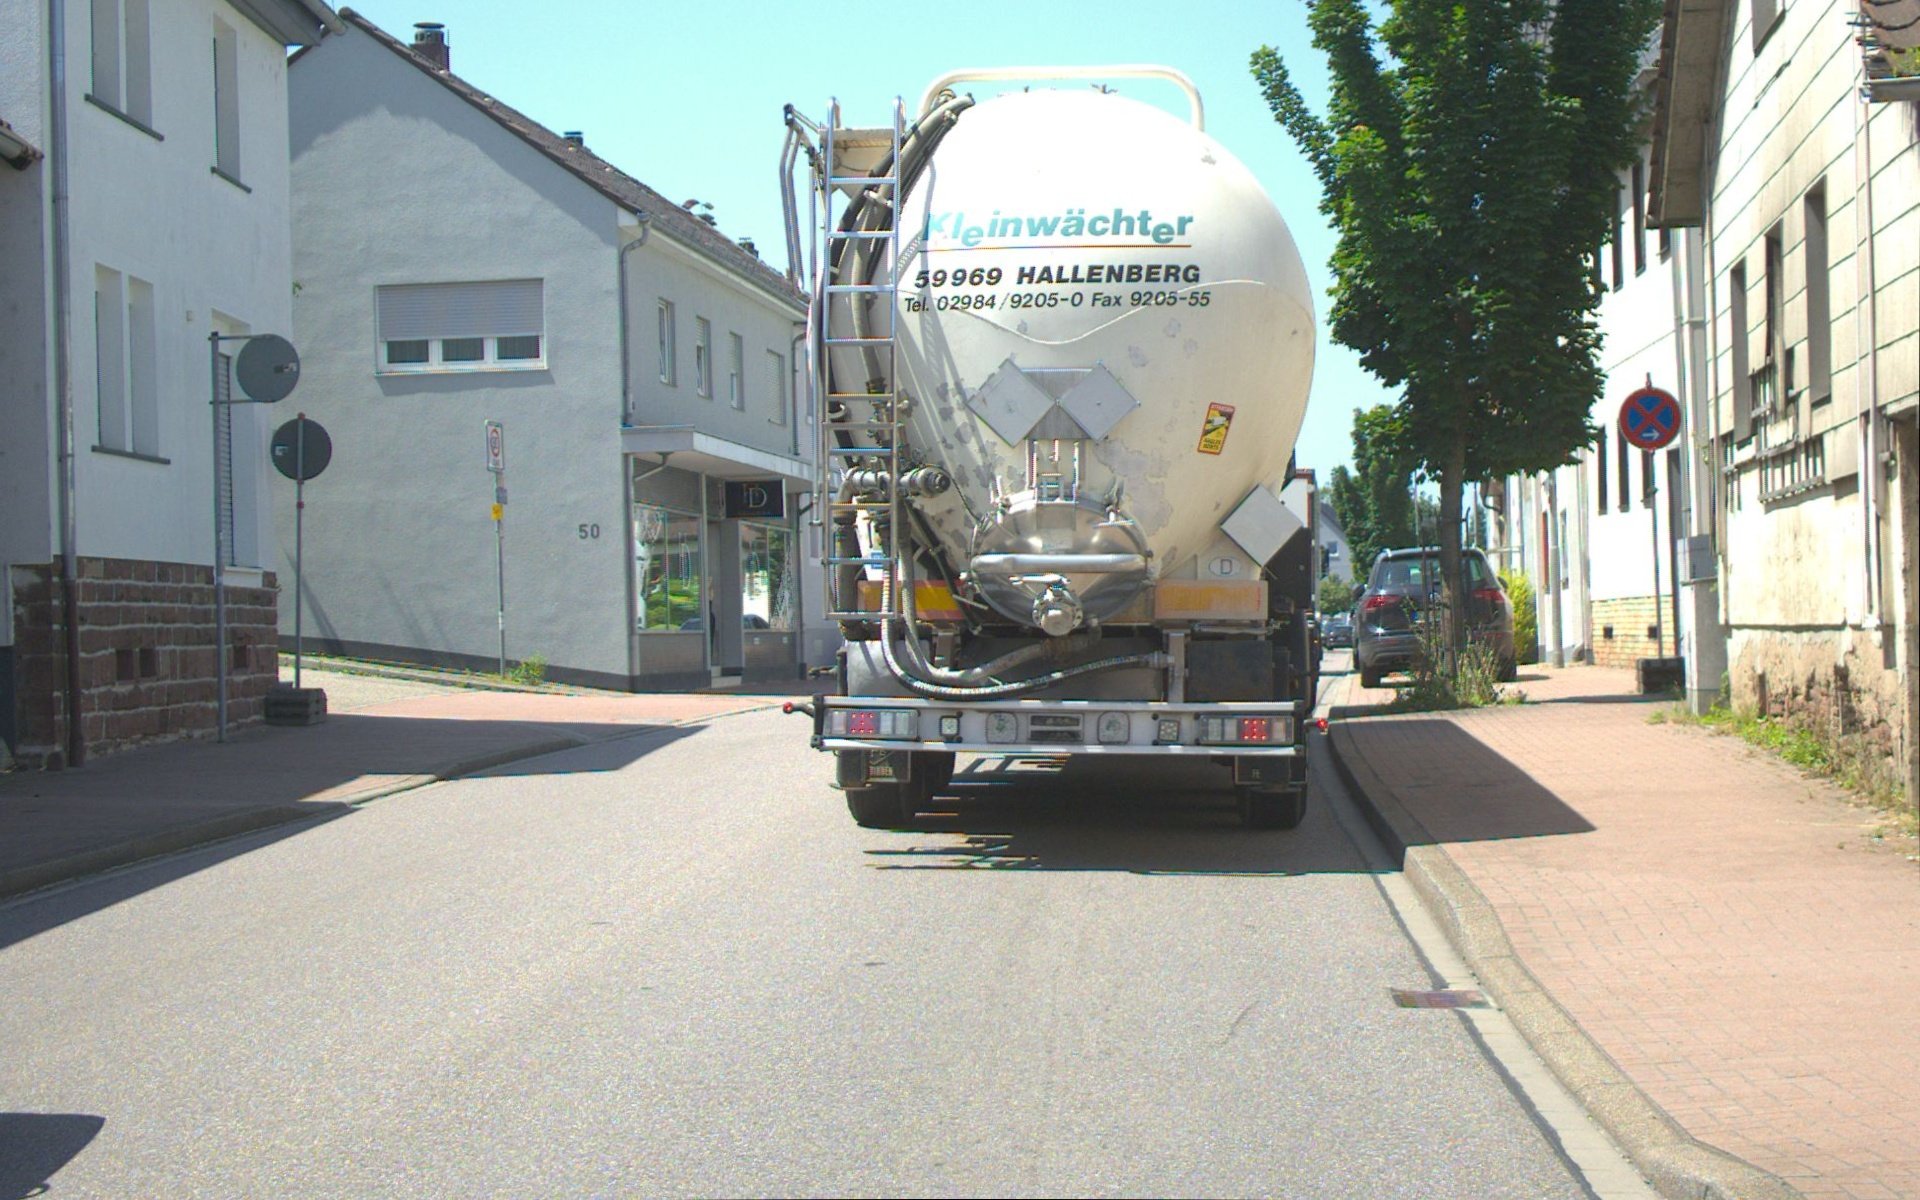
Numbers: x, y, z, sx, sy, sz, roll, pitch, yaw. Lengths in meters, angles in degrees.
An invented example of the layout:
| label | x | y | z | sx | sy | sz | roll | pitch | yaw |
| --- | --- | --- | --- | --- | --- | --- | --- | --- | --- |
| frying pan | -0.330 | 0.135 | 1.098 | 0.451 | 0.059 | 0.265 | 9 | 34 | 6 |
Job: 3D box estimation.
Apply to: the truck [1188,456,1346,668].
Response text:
| label | x | y | z | sx | sy | sz | roll | pitch | yaw |
| --- | --- | --- | --- | --- | --- | --- | --- | --- | --- |
| truck | 6.340 | -0.833 | 71.182 | 2.963 | 4.055 | 9.282 | -1 | 1 | 5 |

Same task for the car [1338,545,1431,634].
| label | x | y | z | sx | sy | sz | roll | pitch | yaw |
| --- | --- | --- | --- | --- | --- | --- | --- | --- | --- |
| car | 9.996 | -0.230 | 81.238 | 1.946 | 1.964 | 4.784 | -3 | -1 | 5 |

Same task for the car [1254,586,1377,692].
| label | x | y | z | sx | sy | sz | roll | pitch | yaw |
| --- | --- | --- | --- | --- | --- | --- | --- | --- | --- |
| car | 5.546 | 0.595 | 53.197 | 1.701 | 1.442 | 4.835 | -5 | -1 | 7 |

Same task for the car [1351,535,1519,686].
| label | x | y | z | sx | sy | sz | roll | pitch | yaw |
| --- | --- | --- | --- | --- | --- | --- | --- | --- | --- |
| car | 5.707 | 0.109 | 41.648 | 1.803 | 1.608 | 4.547 | -4 | 0 | 7 |

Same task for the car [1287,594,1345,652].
| label | x | y | z | sx | sy | sz | roll | pitch | yaw |
| --- | --- | --- | --- | --- | --- | --- | --- | --- | --- |
| car | 12.762 | 0.826 | 123.399 | 1.946 | 1.964 | 4.784 | -3 | -1 | 5 |

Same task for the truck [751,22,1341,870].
| label | x | y | z | sx | sy | sz | roll | pitch | yaw |
| --- | --- | --- | --- | --- | --- | --- | --- | --- | --- |
| truck | 0.684 | -0.767 | 20.161 | 2.733 | 3.946 | 8.140 | 1 | 1 | 4 |

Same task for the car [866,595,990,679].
| label | x | y | z | sx | sy | sz | roll | pitch | yaw |
| --- | --- | --- | --- | --- | --- | --- | --- | --- | --- |
| car | -0.576 | 0.707 | 66.544 | 1.809 | 1.552 | 4.563 | 0 | 0 | 7 |
